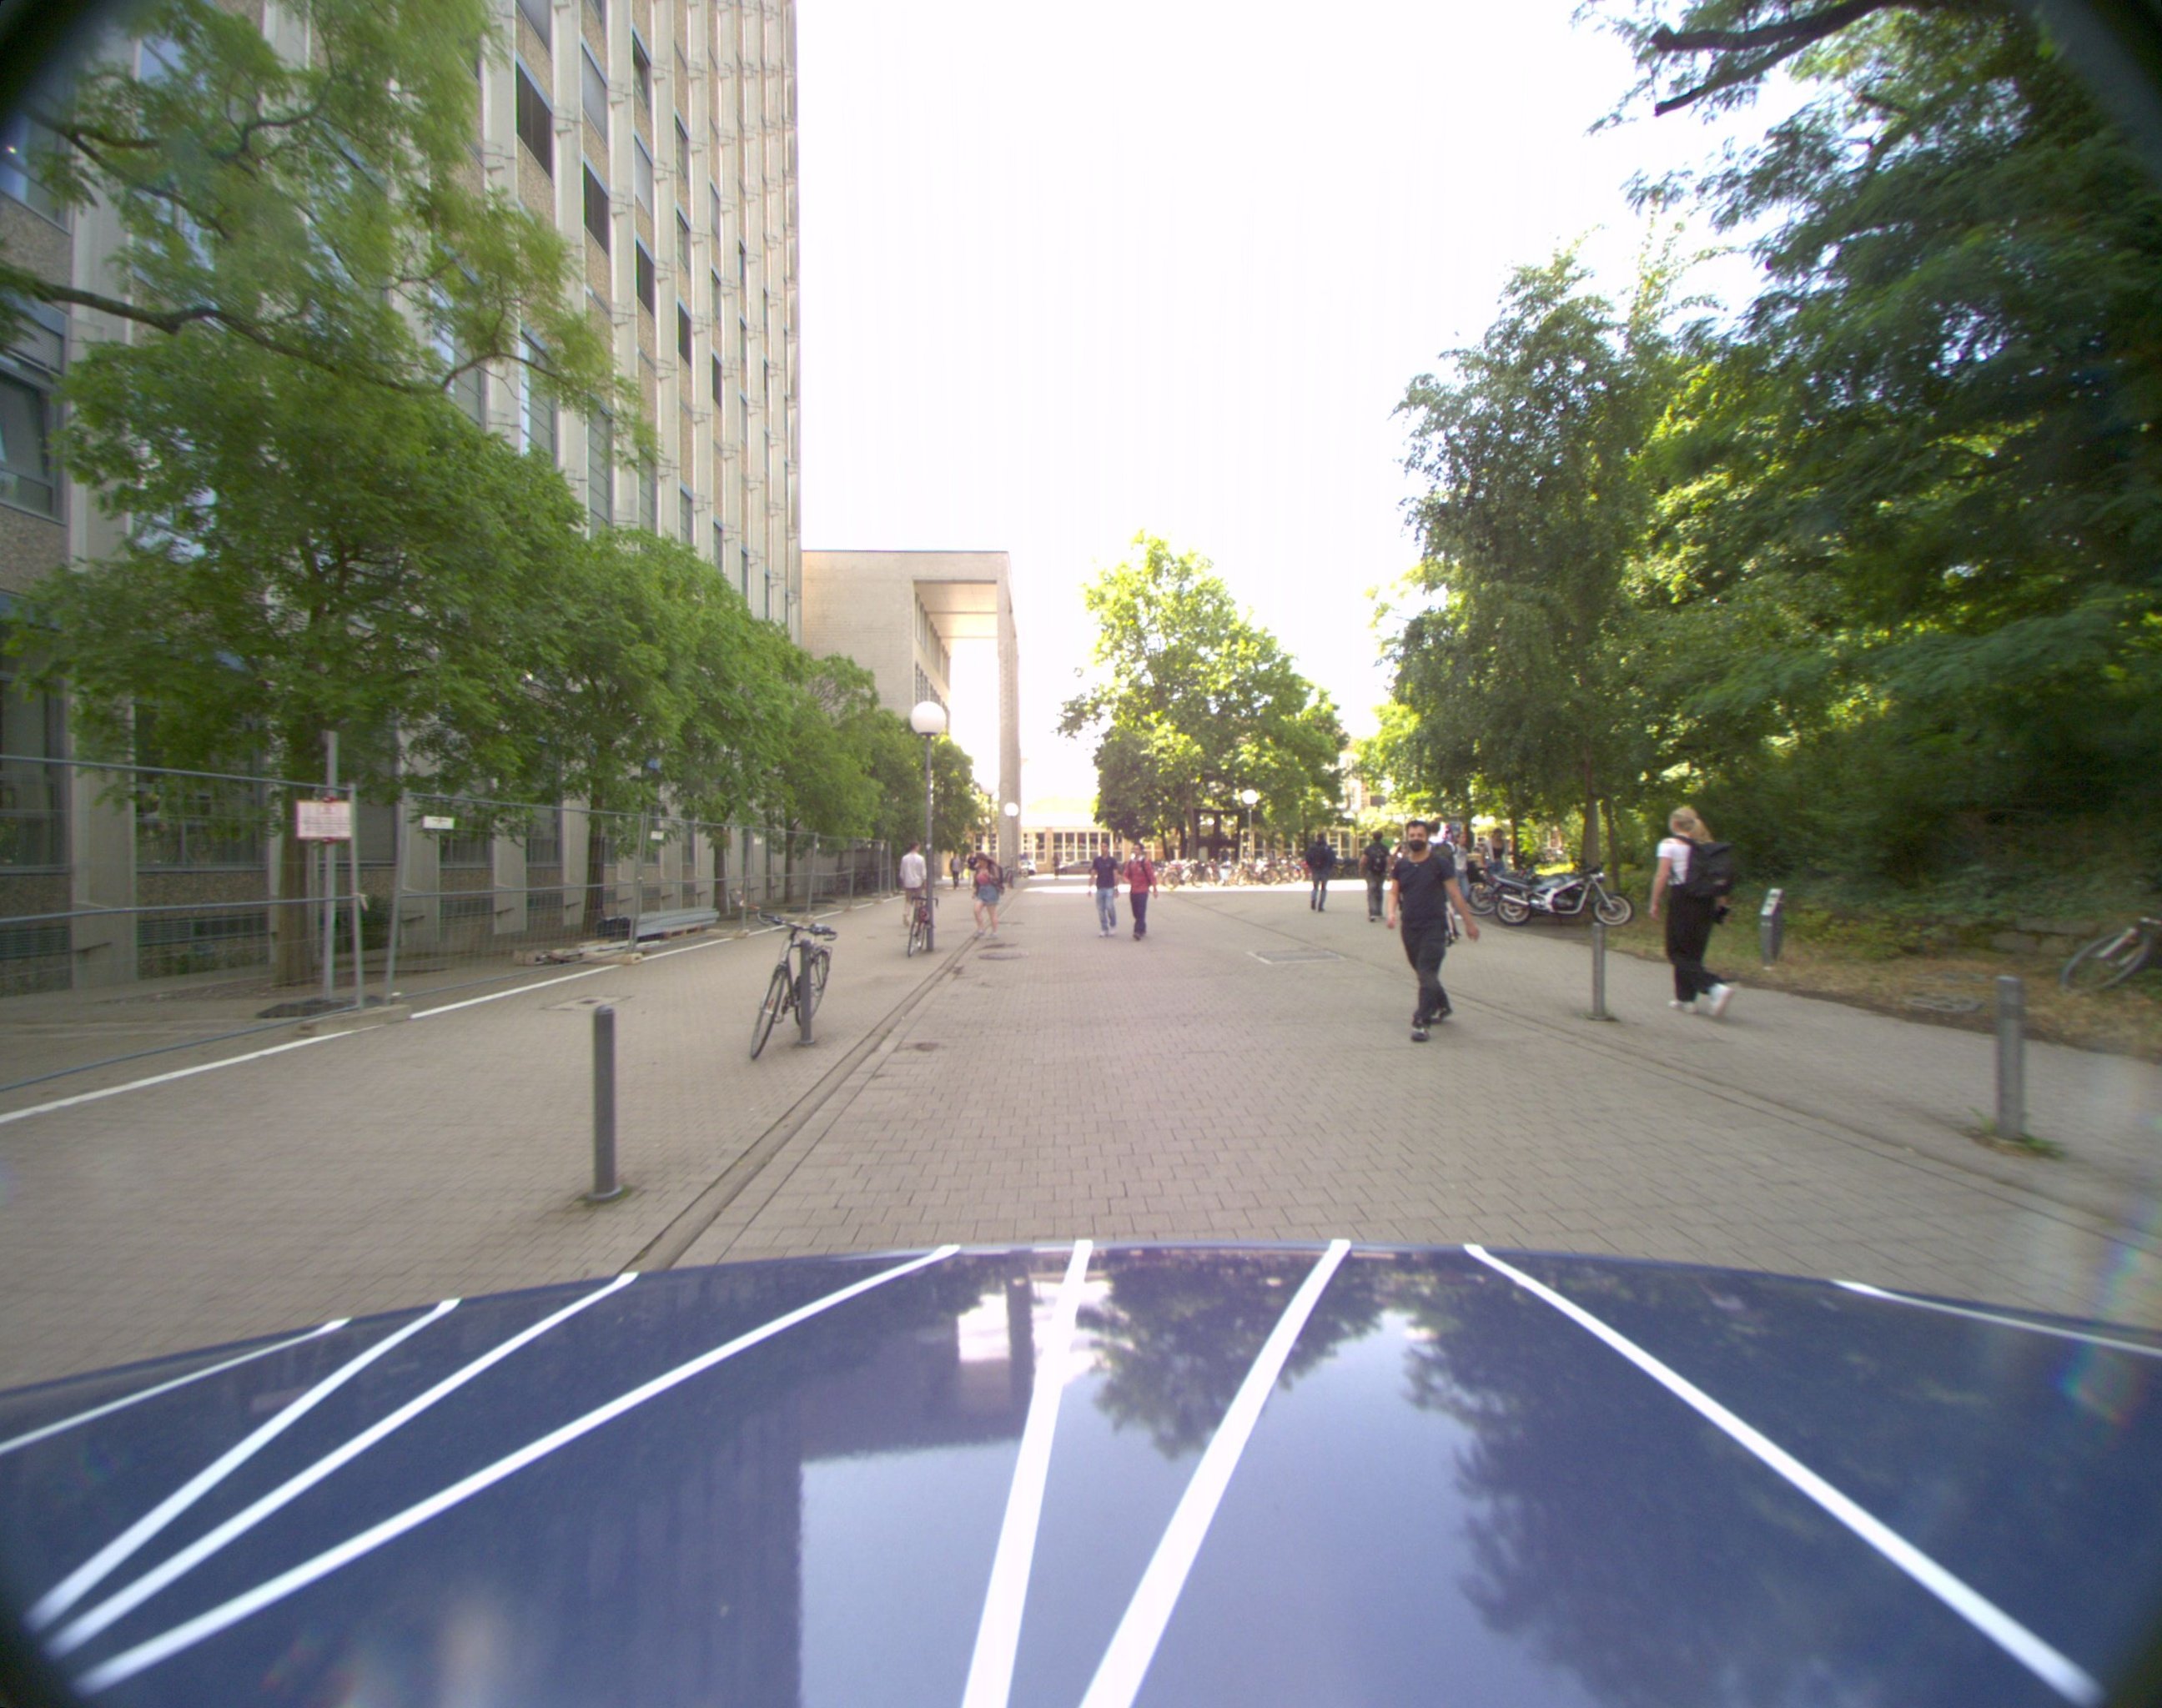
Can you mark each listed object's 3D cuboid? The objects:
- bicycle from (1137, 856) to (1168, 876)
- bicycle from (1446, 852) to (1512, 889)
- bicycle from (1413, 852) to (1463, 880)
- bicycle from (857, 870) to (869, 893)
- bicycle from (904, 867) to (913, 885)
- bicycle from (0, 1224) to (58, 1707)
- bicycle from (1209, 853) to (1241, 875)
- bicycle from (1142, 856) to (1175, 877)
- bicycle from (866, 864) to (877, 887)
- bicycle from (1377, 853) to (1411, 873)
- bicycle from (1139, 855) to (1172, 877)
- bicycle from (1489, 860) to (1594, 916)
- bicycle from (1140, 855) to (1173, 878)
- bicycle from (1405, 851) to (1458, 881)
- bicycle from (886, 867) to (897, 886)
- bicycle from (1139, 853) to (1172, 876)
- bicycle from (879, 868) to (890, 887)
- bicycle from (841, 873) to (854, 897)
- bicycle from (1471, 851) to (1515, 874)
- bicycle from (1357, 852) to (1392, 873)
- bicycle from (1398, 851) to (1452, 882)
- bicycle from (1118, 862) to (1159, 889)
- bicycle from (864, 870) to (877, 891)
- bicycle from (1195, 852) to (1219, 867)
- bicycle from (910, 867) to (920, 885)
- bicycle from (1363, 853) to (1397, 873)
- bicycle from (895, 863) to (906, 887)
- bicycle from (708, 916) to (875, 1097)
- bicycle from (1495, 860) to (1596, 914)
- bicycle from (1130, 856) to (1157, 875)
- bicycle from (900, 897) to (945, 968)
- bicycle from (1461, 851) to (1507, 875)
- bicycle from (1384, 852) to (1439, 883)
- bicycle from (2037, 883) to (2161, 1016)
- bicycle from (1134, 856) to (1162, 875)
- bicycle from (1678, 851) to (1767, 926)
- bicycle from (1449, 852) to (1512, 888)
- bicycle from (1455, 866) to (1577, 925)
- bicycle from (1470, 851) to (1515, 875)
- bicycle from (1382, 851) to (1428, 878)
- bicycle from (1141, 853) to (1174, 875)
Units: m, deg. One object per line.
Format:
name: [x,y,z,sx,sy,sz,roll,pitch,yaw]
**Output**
bicycle: [4.158,0.710,44.347,1.740,1.120,0.496,-2,1,-7]
bicycle: [12.341,0.513,23.595,1.773,1.104,0.475,-1,1,27]
bicycle: [14.380,0.484,30.621,1.773,1.104,0.475,-1,1,37]
bicycle: [-9.234,1.162,32.208,0.291,0.900,1.803,-1,0,-10]
bicycle: [-8.831,1.120,38.915,0.291,0.900,1.447,-1,0,-5]
bicycle: [-2.173,1.188,0.590,0.452,0.956,1.739,1,0,-2]
bicycle: [7.937,0.569,41.936,0.577,1.193,1.695,-2,1,-41]
bicycle: [4.358,0.685,42.849,1.741,1.101,0.496,-2,1,-14]
bicycle: [-10.276,1.053,37.304,0.291,1.092,1.447,-1,0,-5]
bicycle: [17.516,0.511,42.513,0.475,1.077,1.695,-2,1,-41]
bicycle: [4.029,0.647,41.105,1.700,1.101,0.496,-2,1,-12]
bicycle: [9.163,0.680,15.176,0.475,1.041,1.695,-4,1,-43]
bicycle: [4.030,0.651,40.580,1.700,1.139,0.473,-2,1,-14]
bicycle: [13.385,0.472,29.051,1.773,1.104,0.475,-1,1,37]
bicycle: [-9.701,1.140,38.891,0.291,0.900,1.447,-1,0,-5]
bicycle: [4.078,0.558,41.584,1.741,1.228,0.496,-2,1,-9]
bicycle: [-9.630,1.137,37.330,0.291,0.882,1.447,-1,0,-5]
bicycle: [-9.241,1.211,30.072,0.291,0.900,1.617,-1,0,-10]
bicycle: [19.793,0.418,36.491,1.773,1.104,0.518,-1,1,40]
bicycle: [15.764,0.462,40.821,0.475,1.077,1.695,-2,1,-41]
bicycle: [12.971,0.468,28.675,1.773,1.104,0.475,-1,1,42]
bicycle: [2.373,0.864,31.505,0.605,1.077,1.695,-2,1,-41]
bicycle: [-9.716,1.214,35.079,0.291,0.900,1.447,-1,0,-5]
bicycle: [9.864,0.439,59.505,1.839,1.101,0.393,-2,1,-8]
bicycle: [-8.475,1.118,38.791,0.291,0.900,1.447,-1,0,-5]
bicycle: [16.313,0.476,41.434,0.475,1.077,1.695,-2,1,-41]
bicycle: [-8.891,1.015,37.415,0.291,1.122,1.447,-1,0,-5]
bicycle: [-2.241,1.129,6.133,0.710,1.086,1.748,-1,0,-2]
bicycle: [9.553,0.667,15.675,0.475,1.041,1.695,-2,1,-43]
bicycle: [3.875,0.718,47.096,1.627,1.101,0.497,-1,1,12]
bicycle: [-2.460,1.187,11.898,0.396,0.930,1.731,1,0,-2]
bicycle: [18.643,0.426,35.165,1.773,1.104,0.518,-1,1,40]
bicycle: [12.130,0.490,27.948,1.773,1.104,0.475,-1,1,42]
bicycle: [8.144,0.733,5.569,0.422,0.905,1.741,-1,2,13]
bicycle: [4.102,0.686,46.492,1.627,1.137,0.497,-1,1,12]
bicycle: [9.999,0.510,11.899,0.473,1.041,1.701,-3,1,20]
bicycle: [12.870,0.526,24.535,1.773,1.104,0.475,-1,1,27]
bicycle: [8.172,0.749,14.339,0.543,1.041,1.903,-2,1,-43]
bicycle: [19.314,0.433,35.712,1.773,1.104,0.518,-1,1,40]
bicycle: [14.277,0.468,33.506,1.844,1.104,0.474,-2,1,-3]
bicycle: [4.256,0.569,42.152,1.740,1.172,0.497,-2,1,-3]
